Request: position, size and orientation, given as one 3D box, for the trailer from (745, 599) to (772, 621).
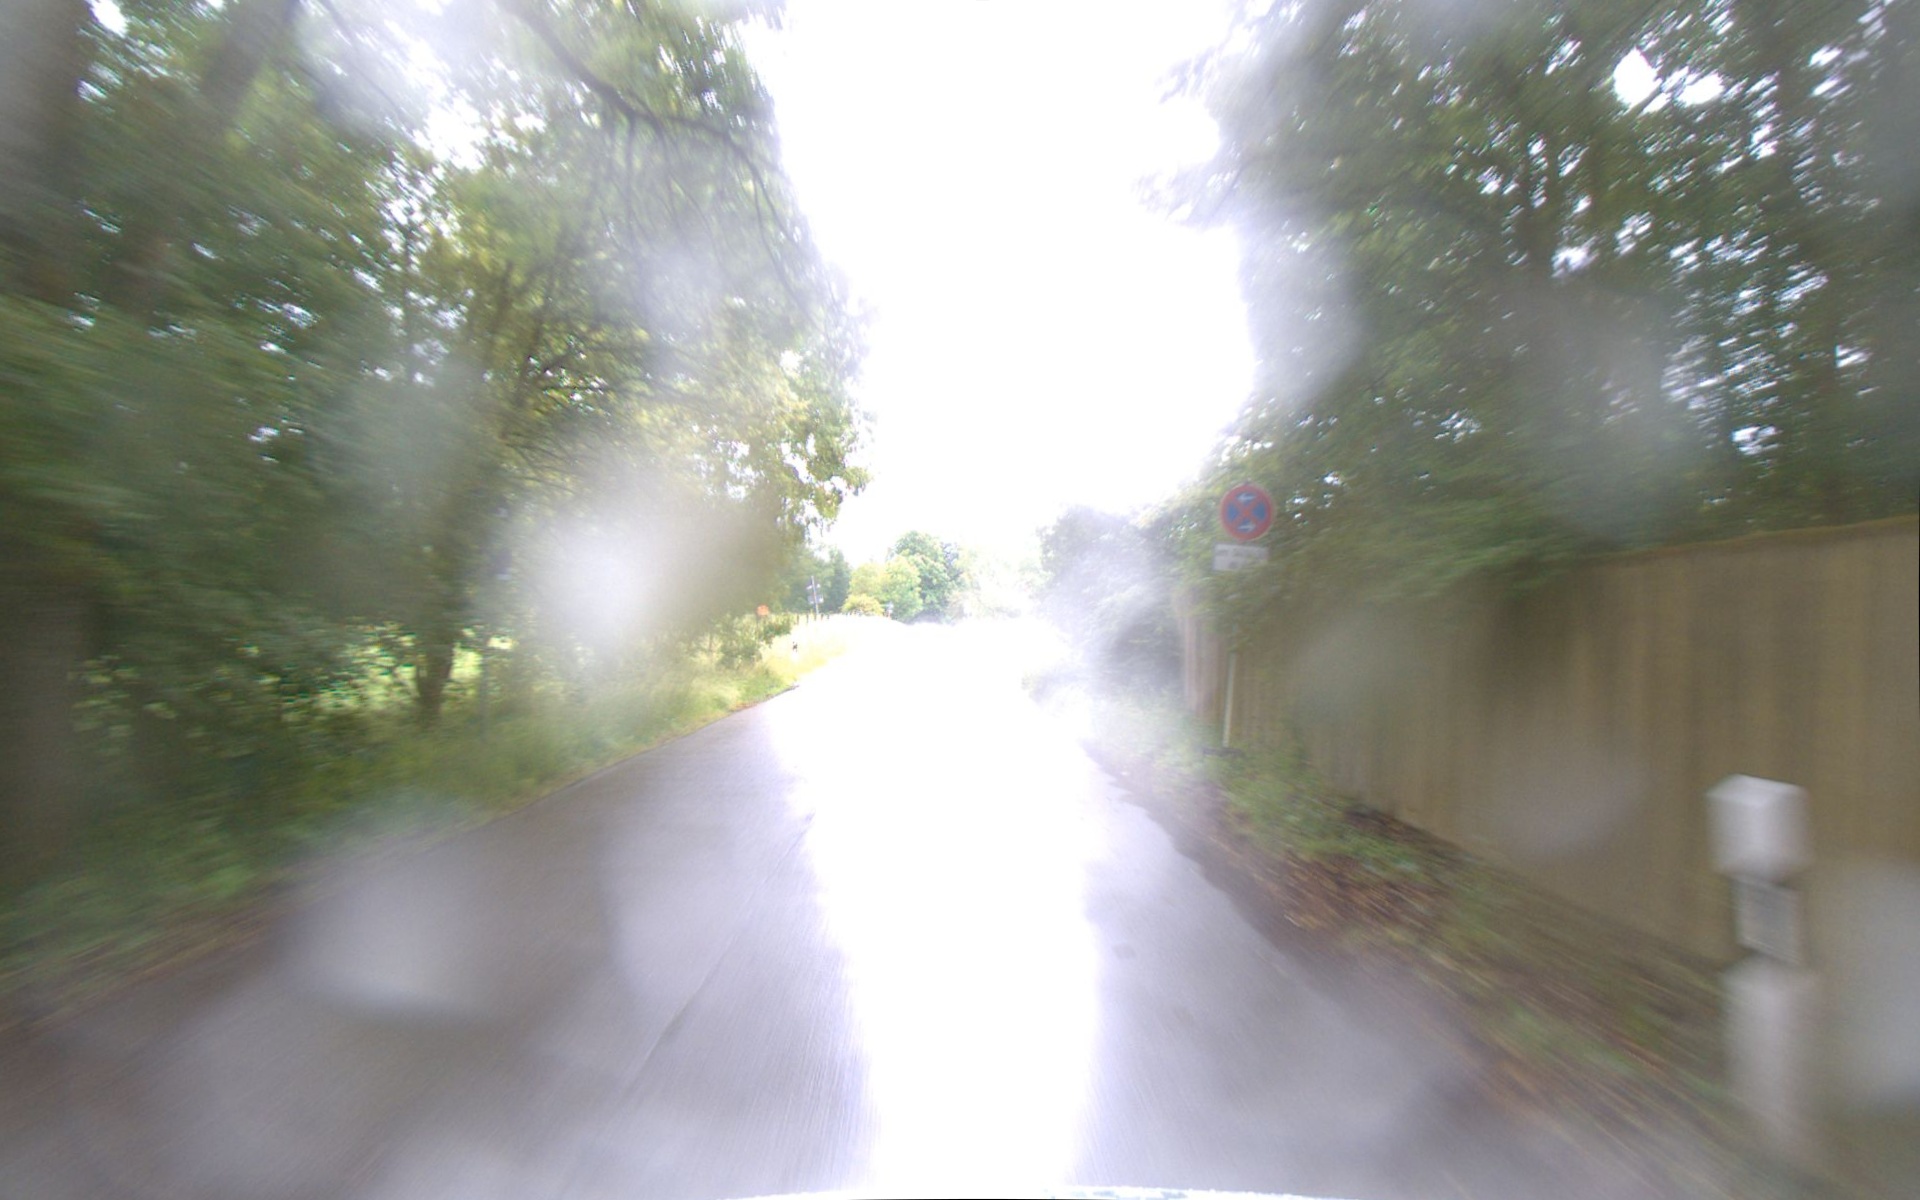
[{"bbox_3d":[-15.126,0.738,124.128,1.720,1.531,3.082,2,0,-11],"label":"trailer"}]
